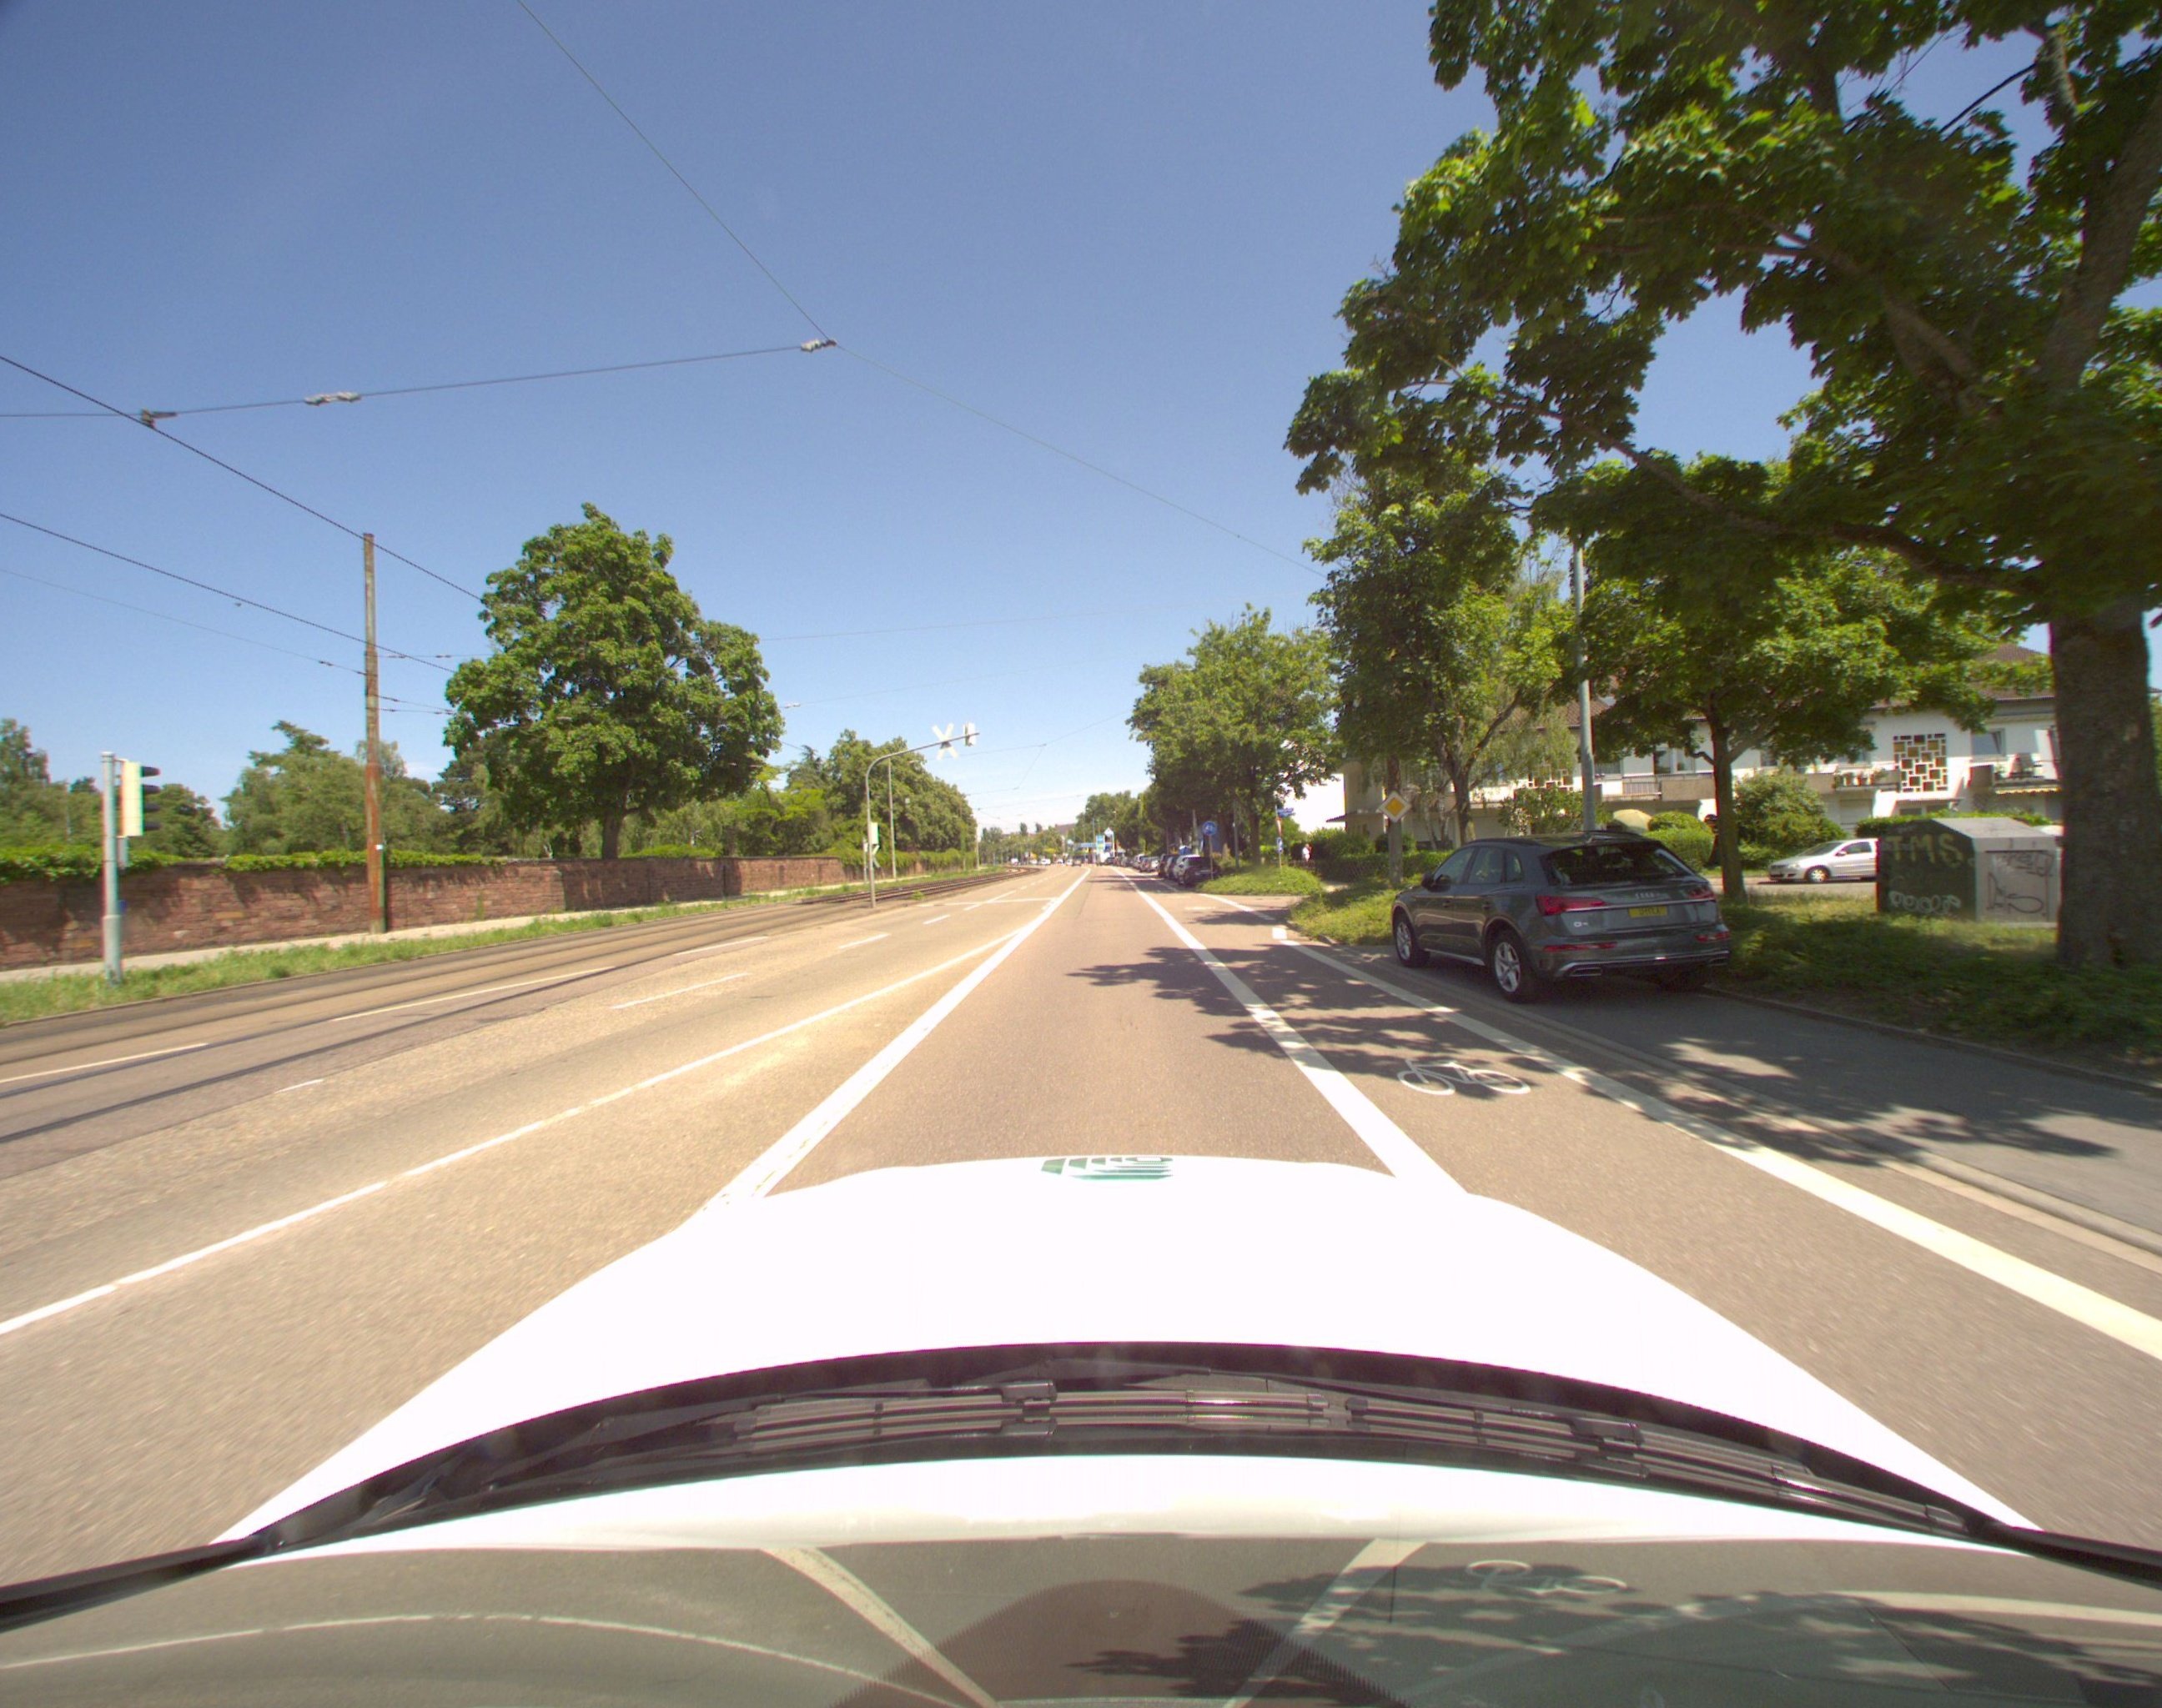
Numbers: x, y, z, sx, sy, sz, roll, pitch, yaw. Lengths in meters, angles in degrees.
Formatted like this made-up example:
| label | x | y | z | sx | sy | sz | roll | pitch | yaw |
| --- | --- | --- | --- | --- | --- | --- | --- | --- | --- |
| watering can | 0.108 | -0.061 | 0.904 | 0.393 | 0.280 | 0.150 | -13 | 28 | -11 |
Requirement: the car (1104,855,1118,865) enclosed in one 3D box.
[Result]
| label | x | y | z | sx | sy | sz | roll | pitch | yaw |
| --- | --- | --- | --- | --- | --- | --- | --- | --- | --- |
| car | 5.494 | 1.118 | 150.753 | 1.754 | 1.630 | 4.312 | -4 | 0 | -8 |

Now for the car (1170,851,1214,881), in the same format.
| label | x | y | z | sx | sy | sz | roll | pitch | yaw |
| --- | --- | --- | --- | --- | --- | --- | --- | --- | --- |
| car | 6.401 | 0.696 | 47.475 | 1.835 | 1.529 | 4.204 | -4 | 0 | -1 |

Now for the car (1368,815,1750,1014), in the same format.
| label | x | y | z | sx | sy | sz | roll | pitch | yaw |
| --- | --- | --- | --- | --- | --- | --- | --- | --- | --- |
| car | 5.069 | 0.562 | 9.578 | 1.706 | 1.632 | 4.709 | -4 | -1 | 1 |

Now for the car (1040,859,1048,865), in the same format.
| label | x | y | z | sx | sy | sz | roll | pitch | yaw |
| --- | --- | --- | --- | --- | --- | --- | --- | --- | --- |
| car | -11.243 | 2.429 | 246.271 | 1.754 | 1.875 | 4.312 | -4 | 0 | -8 |

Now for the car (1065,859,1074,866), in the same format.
| label | x | y | z | sx | sy | sz | roll | pitch | yaw |
| --- | --- | --- | --- | --- | --- | --- | --- | --- | --- |
| car | -2.814 | 2.185 | 201.608 | 1.753 | 1.630 | 4.315 | -4 | 0 | -6 |

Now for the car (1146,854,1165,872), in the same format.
| label | x | y | z | sx | sy | sz | roll | pitch | yaw |
| --- | --- | --- | --- | --- | --- | --- | --- | --- | --- |
| car | 7.331 | 0.868 | 80.596 | 1.513 | 1.529 | 3.818 | -4 | 0 | 2 |

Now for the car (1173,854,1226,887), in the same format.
| label | x | y | z | sx | sy | sz | roll | pitch | yaw |
| --- | --- | --- | --- | --- | --- | --- | --- | --- | --- |
| car | 5.913 | 0.766 | 41.214 | 1.835 | 1.436 | 4.823 | -4 | 0 | 0 |

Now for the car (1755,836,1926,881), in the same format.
| label | x | y | z | sx | sy | sz | roll | pitch | yaw |
| --- | --- | --- | --- | --- | --- | --- | --- | --- | --- |
| car | 24.798 | 0.148 | 26.718 | 3.759 | 1.346 | 1.725 | -2 | 0 | 9 |

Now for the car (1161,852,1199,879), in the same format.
| label | x | y | z | sx | sy | sz | roll | pitch | yaw |
| --- | --- | --- | --- | --- | --- | --- | --- | --- | --- |
| car | 6.409 | 0.714 | 53.044 | 1.835 | 1.529 | 4.352 | -4 | 0 | -1 |

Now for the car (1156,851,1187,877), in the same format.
| label | x | y | z | sx | sy | sz | roll | pitch | yaw |
| --- | --- | --- | --- | --- | --- | --- | --- | --- | --- |
| car | 6.485 | 0.675 | 58.682 | 1.833 | 1.706 | 4.630 | -4 | 0 | 3 |

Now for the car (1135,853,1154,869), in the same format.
| label | x | y | z | sx | sy | sz | roll | pitch | yaw |
| --- | --- | --- | --- | --- | --- | --- | --- | --- | --- |
| car | 7.811 | 0.796 | 100.583 | 1.835 | 1.794 | 4.353 | -4 | 0 | 0 |

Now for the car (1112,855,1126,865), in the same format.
| label | x | y | z | sx | sy | sz | roll | pitch | yaw |
| --- | --- | --- | --- | --- | --- | --- | --- | --- | --- |
| car | 6.600 | 1.067 | 140.755 | 1.705 | 1.562 | 4.314 | -4 | 0 | -6 |

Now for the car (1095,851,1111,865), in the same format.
| label | x | y | z | sx | sy | sz | roll | pitch | yaw |
| --- | --- | --- | --- | --- | --- | --- | --- | --- | --- |
| car | 4.397 | 0.844 | 160.895 | 2.000 | 2.456 | 6.091 | -4 | 0 | -8 |

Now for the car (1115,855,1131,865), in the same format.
| label | x | y | z | sx | sy | sz | roll | pitch | yaw |
| --- | --- | --- | --- | --- | --- | --- | --- | --- | --- |
| car | 6.954 | 1.024 | 134.832 | 1.706 | 1.562 | 4.312 | -4 | 0 | -8 |

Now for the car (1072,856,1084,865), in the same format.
| label | x | y | z | sx | sy | sz | roll | pitch | yaw |
| --- | --- | --- | --- | --- | --- | --- | --- | --- | --- |
| car | -0.661 | 1.368 | 163.672 | 1.755 | 1.630 | 4.312 | -4 | 0 | -8 |

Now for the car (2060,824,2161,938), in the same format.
| label | x | y | z | sx | sy | sz | roll | pitch | yaw |
| --- | --- | --- | --- | --- | --- | --- | --- | --- | --- |
| car | 15.927 | 0.350 | 10.797 | 3.848 | 1.489 | 1.769 | 0 | 0 | -1 |

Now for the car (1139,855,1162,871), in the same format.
| label | x | y | z | sx | sy | sz | roll | pitch | yaw |
| --- | --- | --- | --- | --- | --- | --- | --- | --- | --- |
| car | 7.249 | 0.897 | 85.607 | 1.835 | 1.529 | 4.963 | -4 | 0 | -1 |

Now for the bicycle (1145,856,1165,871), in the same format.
| label | x | y | z | sx | sy | sz | roll | pitch | yaw |
| --- | --- | --- | --- | --- | --- | --- | --- | --- | --- |
| bicycle | 7.121 | 0.933 | 78.559 | 1.765 | 1.228 | 0.685 | -7 | -1 | 5 |

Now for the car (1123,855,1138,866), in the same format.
| label | x | y | z | sx | sy | sz | roll | pitch | yaw |
| --- | --- | --- | --- | --- | --- | --- | --- | --- | --- |
| car | 7.508 | 0.967 | 123.638 | 1.703 | 1.492 | 5.033 | -4 | 0 | -2 |

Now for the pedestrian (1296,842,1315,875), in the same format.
| label | x | y | z | sx | sy | sz | roll | pitch | yaw |
| --- | --- | --- | --- | --- | --- | --- | --- | --- | --- |
| pedestrian | 11.917 | 0.231 | 43.213 | 0.746 | 1.722 | 0.632 | -1 | 0 | -5 |
